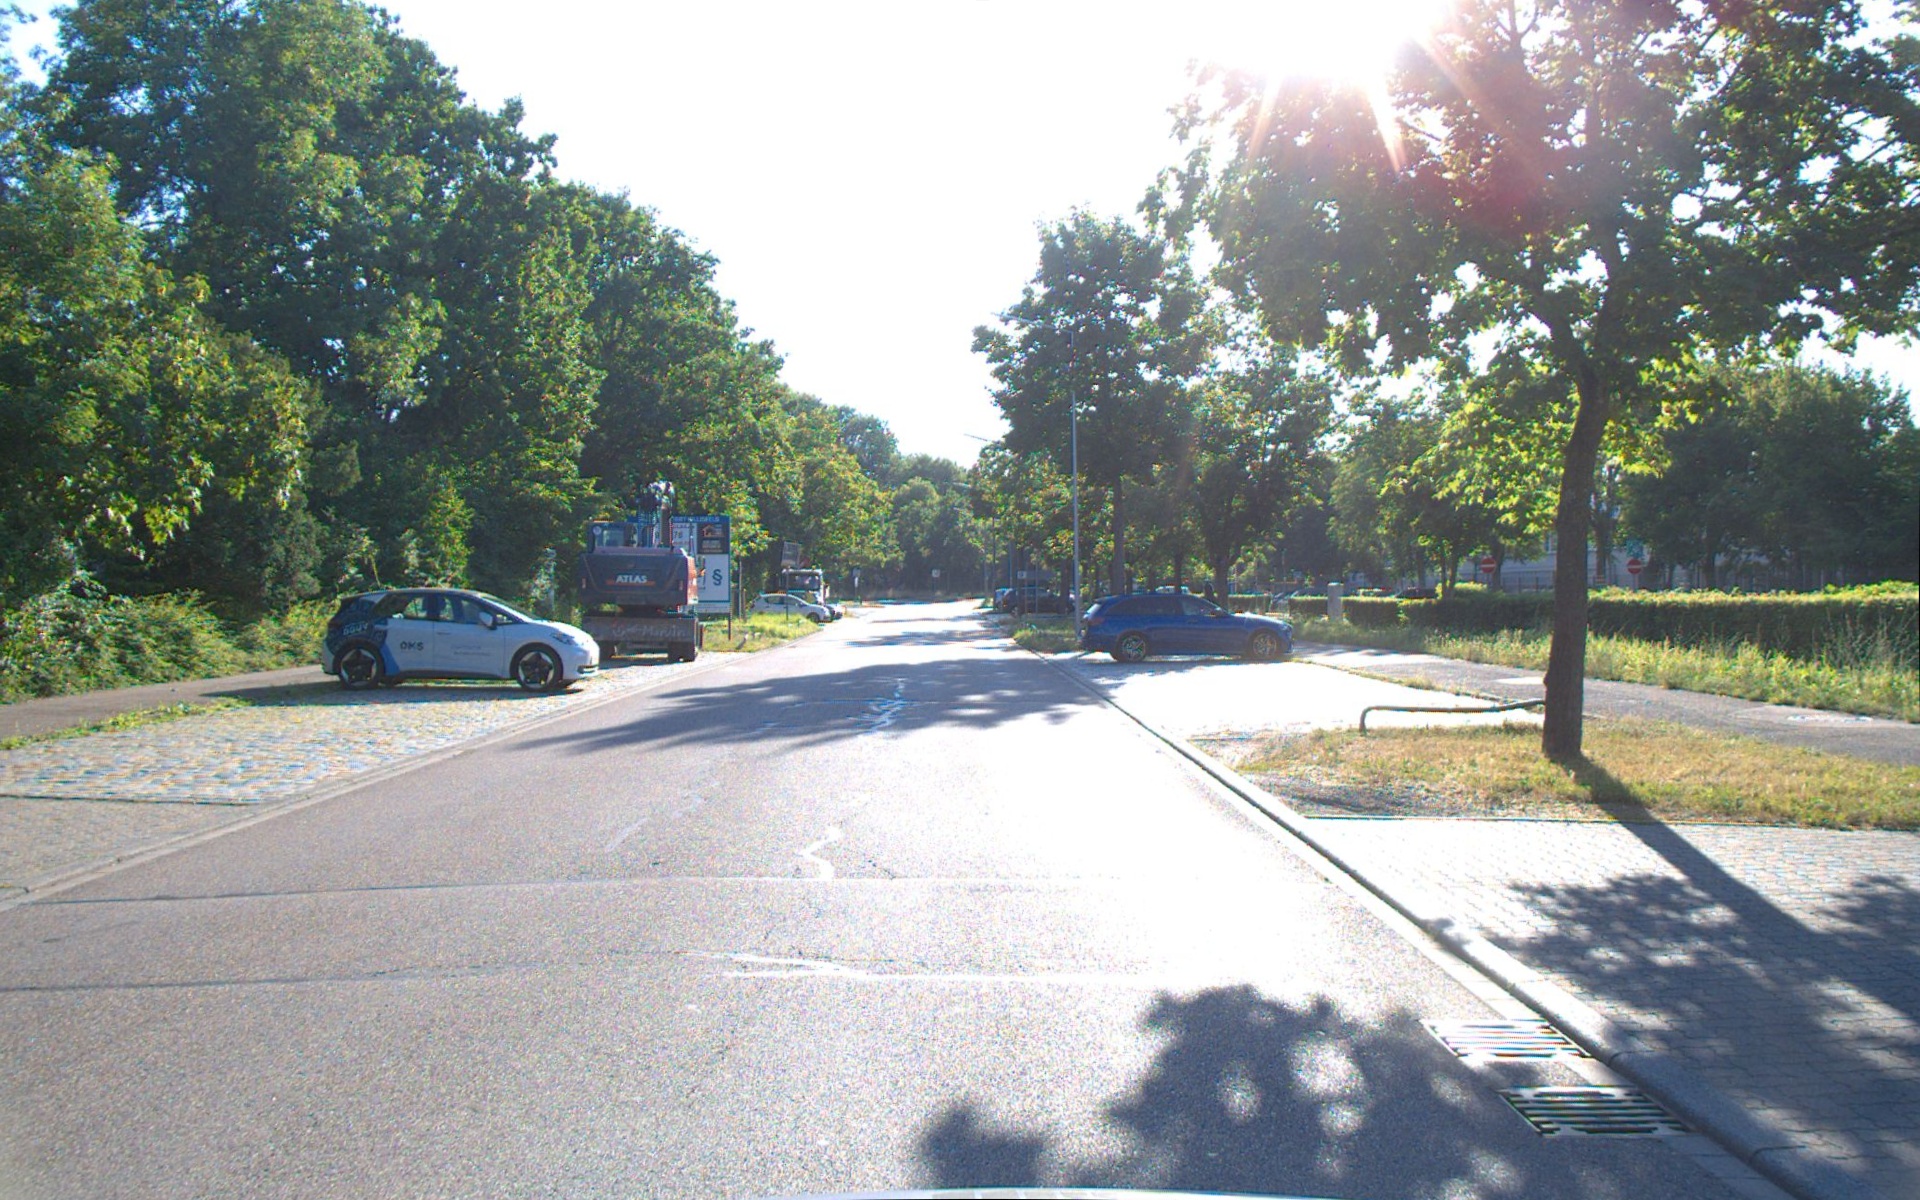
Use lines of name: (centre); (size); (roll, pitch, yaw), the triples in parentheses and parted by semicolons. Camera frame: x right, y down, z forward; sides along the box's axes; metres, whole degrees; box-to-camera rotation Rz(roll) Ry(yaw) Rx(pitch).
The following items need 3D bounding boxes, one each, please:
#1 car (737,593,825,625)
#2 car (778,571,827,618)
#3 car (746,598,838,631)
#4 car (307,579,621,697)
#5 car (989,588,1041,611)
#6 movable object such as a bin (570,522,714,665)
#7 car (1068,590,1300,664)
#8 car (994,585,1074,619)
car: (-8.837, 0.455, 81.598); (4.276, 1.505, 1.997); (-1, 0, -8)
car: (-8.442, -0.289, 88.423); (2.469, 2.427, 4.366); (-1, 0, -7)
car: (-8.042, 0.669, 79.035); (4.276, 1.505, 1.997); (-1, 0, -8)
car: (-7.720, 0.570, 26.061); (4.269, 1.574, 2.000); (3, 0, 0)
car: (4.278, -0.047, 128.681); (3.906, 1.710, 1.999); (-1, 0, -2)
movable object such as a bin: (-7.350, -0.158, 38.857); (2.783, 3.122, 4.922); (-1, 0, -5)
car: (4.772, 0.559, 35.730); (4.742, 1.505, 2.000); (-1, 0, 0)
car: (4.101, 0.099, 92.354); (4.270, 1.759, 1.999); (1, 0, -2)
